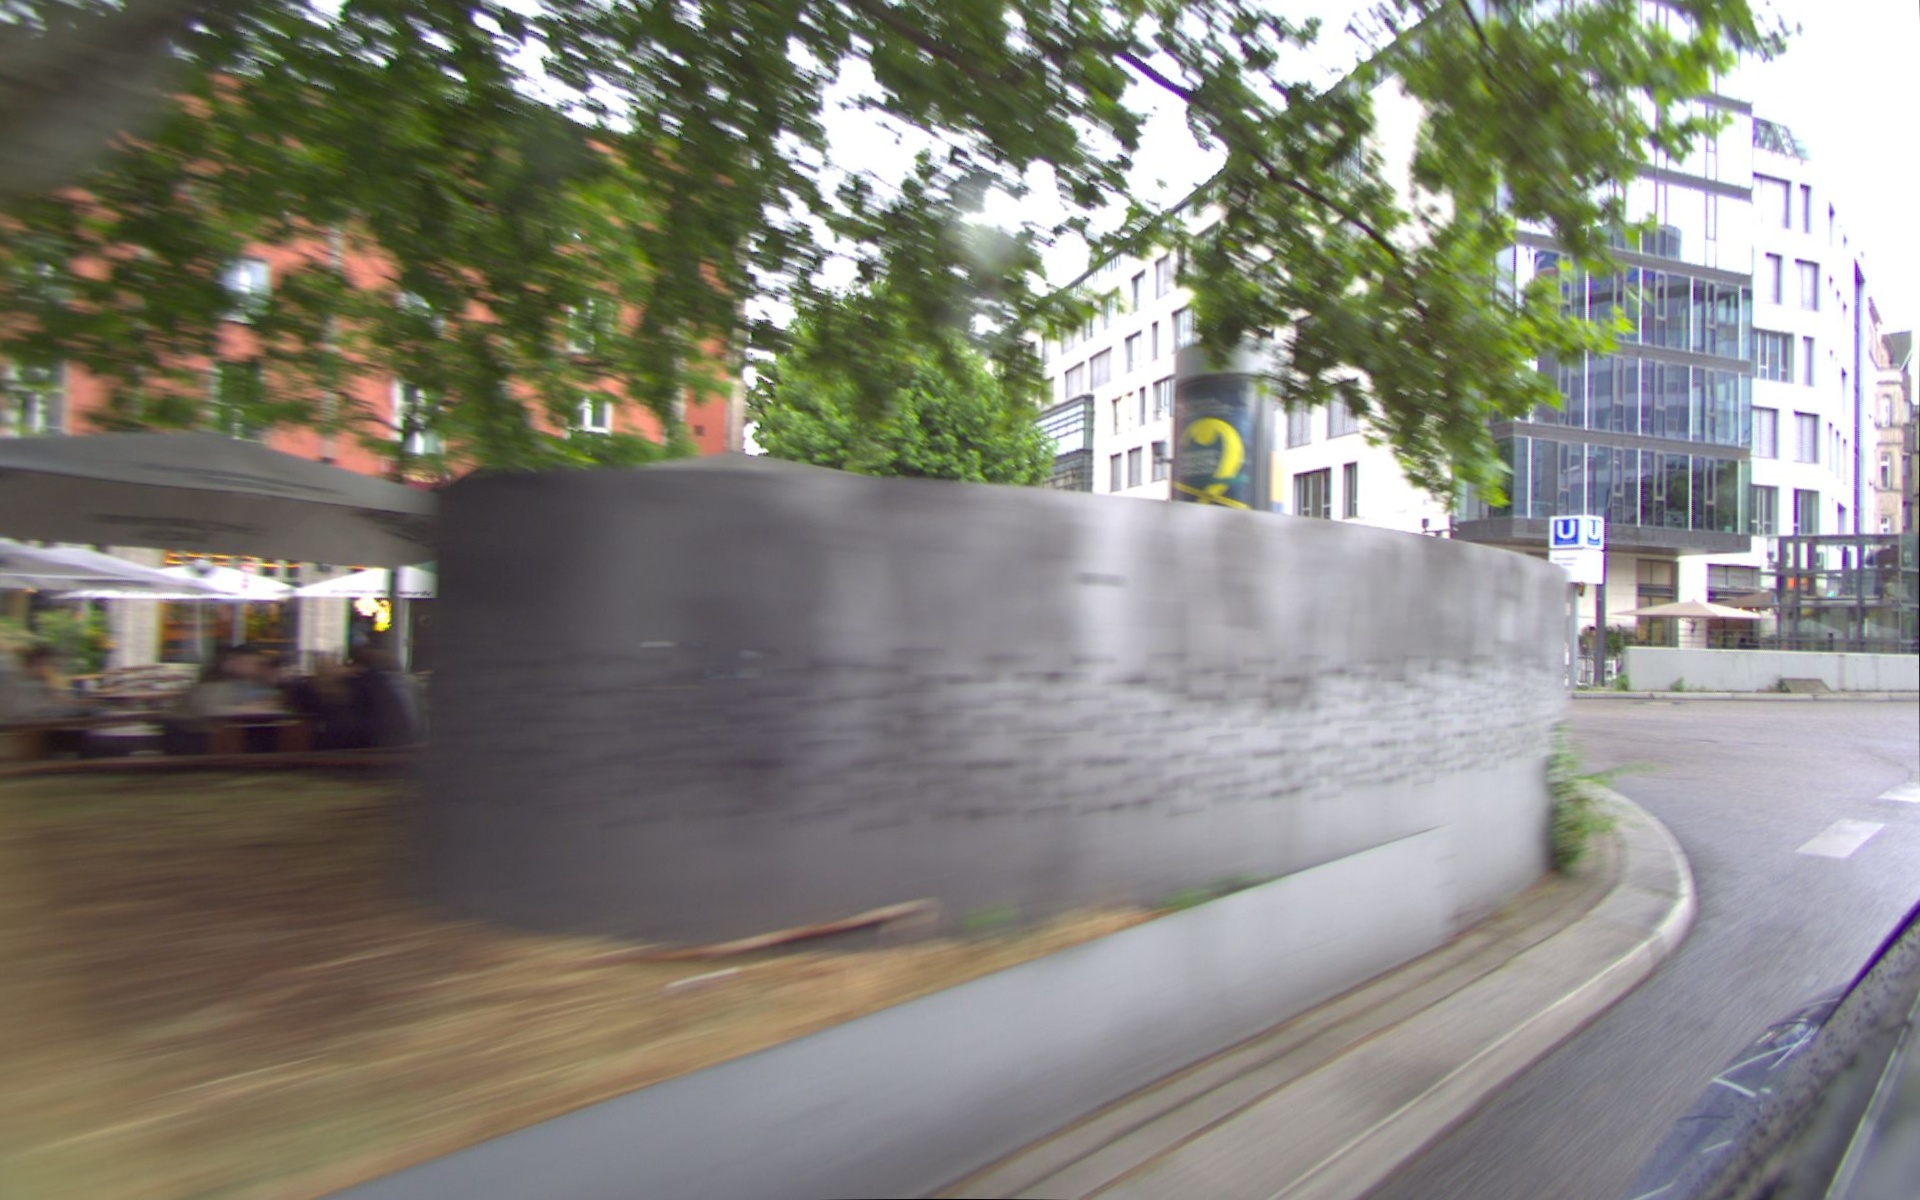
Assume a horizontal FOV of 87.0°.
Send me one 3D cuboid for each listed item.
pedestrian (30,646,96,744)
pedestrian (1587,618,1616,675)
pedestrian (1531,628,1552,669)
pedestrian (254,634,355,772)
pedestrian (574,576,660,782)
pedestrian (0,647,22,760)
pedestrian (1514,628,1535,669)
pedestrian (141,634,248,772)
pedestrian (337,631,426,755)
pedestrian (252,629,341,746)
[{"bbox_3d":[-12.165,1.269,13.737,0.598,1.266,0.630,0,-3,-36],"label":"pedestrian"},{"bbox_3d":[22.168,1.601,34.973,0.630,1.918,0.586,0,0,3],"label":"pedestrian"},{"bbox_3d":[20.485,1.717,35.665,0.468,1.421,0.437,0,0,-19],"label":"pedestrian"},{"bbox_3d":[-5.015,0.759,7.739,0.607,0.964,0.595,0,0,-37],"label":"pedestrian"},{"bbox_3d":[-2.997,0.662,8.900,0.605,1.723,0.726,0,0,-10],"label":"pedestrian"},{"bbox_3d":[-11.175,1.183,11.556,0.598,1.266,0.630,0,-3,-36],"label":"pedestrian"},{"bbox_3d":[20.132,1.716,36.094,0.468,1.421,0.437,0,0,-19],"label":"pedestrian"},{"bbox_3d":[-5.845,0.759,7.754,0.627,0.964,0.618,0,0,-36],"label":"pedestrian"},{"bbox_3d":[-4.879,0.757,8.533,0.584,0.964,0.618,0,0,-36],"label":"pedestrian"},{"bbox_3d":[-5.935,0.756,9.048,0.627,0.964,0.618,0,0,-36],"label":"pedestrian"}]
